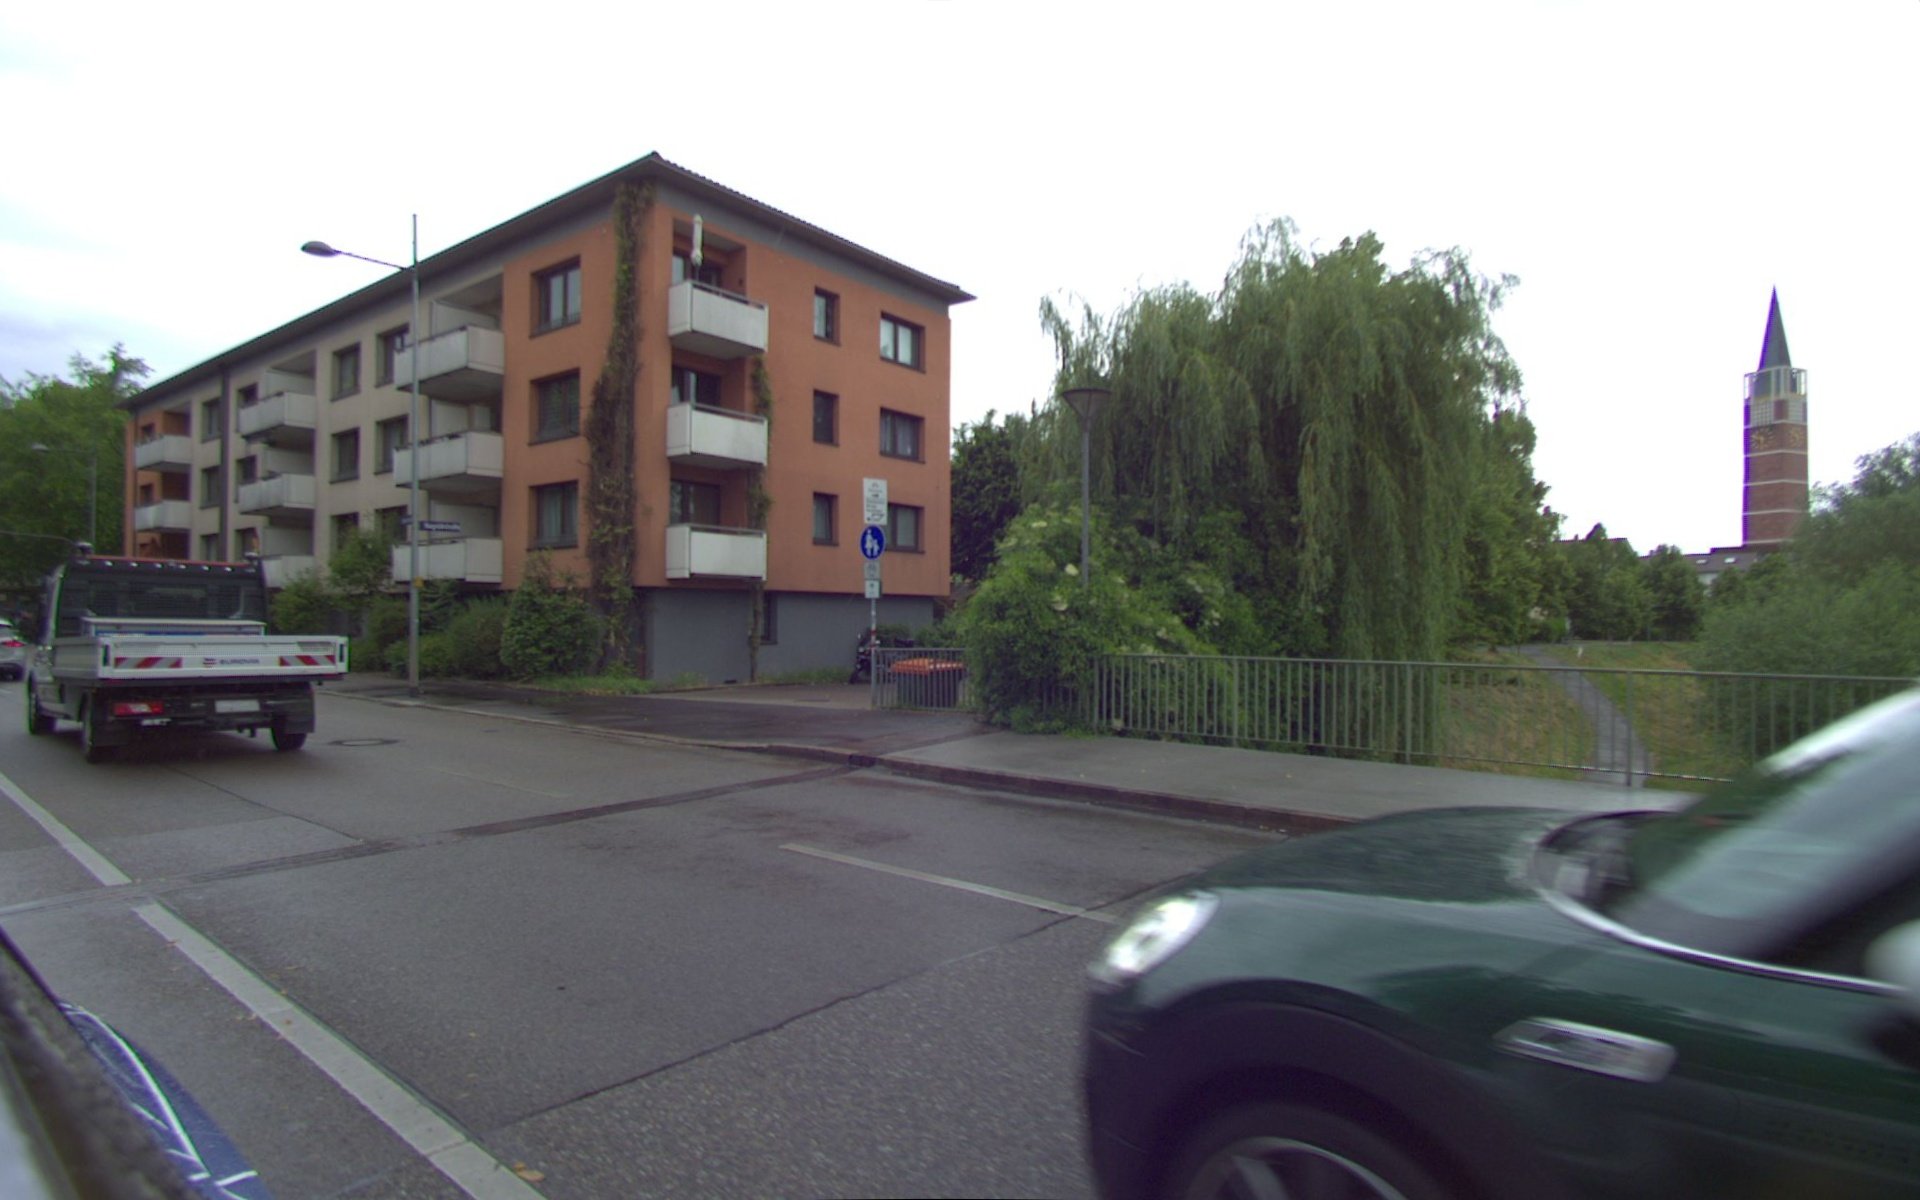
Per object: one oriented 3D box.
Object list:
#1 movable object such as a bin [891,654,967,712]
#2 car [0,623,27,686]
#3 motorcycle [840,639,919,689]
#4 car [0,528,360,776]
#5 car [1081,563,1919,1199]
[{"bbox_3d":[-0.507,1.363,16.825,0.832,0.883,0.956,0,-2,41],"label":"movable object such as a bin"},{"bbox_3d":[-24.845,1.336,25.272,4.164,1.485,1.763,-2,-3,41],"label":"car"},{"bbox_3d":[-2.142,1.703,27.251,0.780,1.273,2.371,-2,-4,36],"label":"motorcycle"},{"bbox_3d":[-9.898,0.598,12.506,6.504,2.326,2.266,-2,-3,41],"label":"car"},{"bbox_3d":[2.298,0.695,1.308,3.998,1.450,1.727,-1,-2,41],"label":"car"}]
